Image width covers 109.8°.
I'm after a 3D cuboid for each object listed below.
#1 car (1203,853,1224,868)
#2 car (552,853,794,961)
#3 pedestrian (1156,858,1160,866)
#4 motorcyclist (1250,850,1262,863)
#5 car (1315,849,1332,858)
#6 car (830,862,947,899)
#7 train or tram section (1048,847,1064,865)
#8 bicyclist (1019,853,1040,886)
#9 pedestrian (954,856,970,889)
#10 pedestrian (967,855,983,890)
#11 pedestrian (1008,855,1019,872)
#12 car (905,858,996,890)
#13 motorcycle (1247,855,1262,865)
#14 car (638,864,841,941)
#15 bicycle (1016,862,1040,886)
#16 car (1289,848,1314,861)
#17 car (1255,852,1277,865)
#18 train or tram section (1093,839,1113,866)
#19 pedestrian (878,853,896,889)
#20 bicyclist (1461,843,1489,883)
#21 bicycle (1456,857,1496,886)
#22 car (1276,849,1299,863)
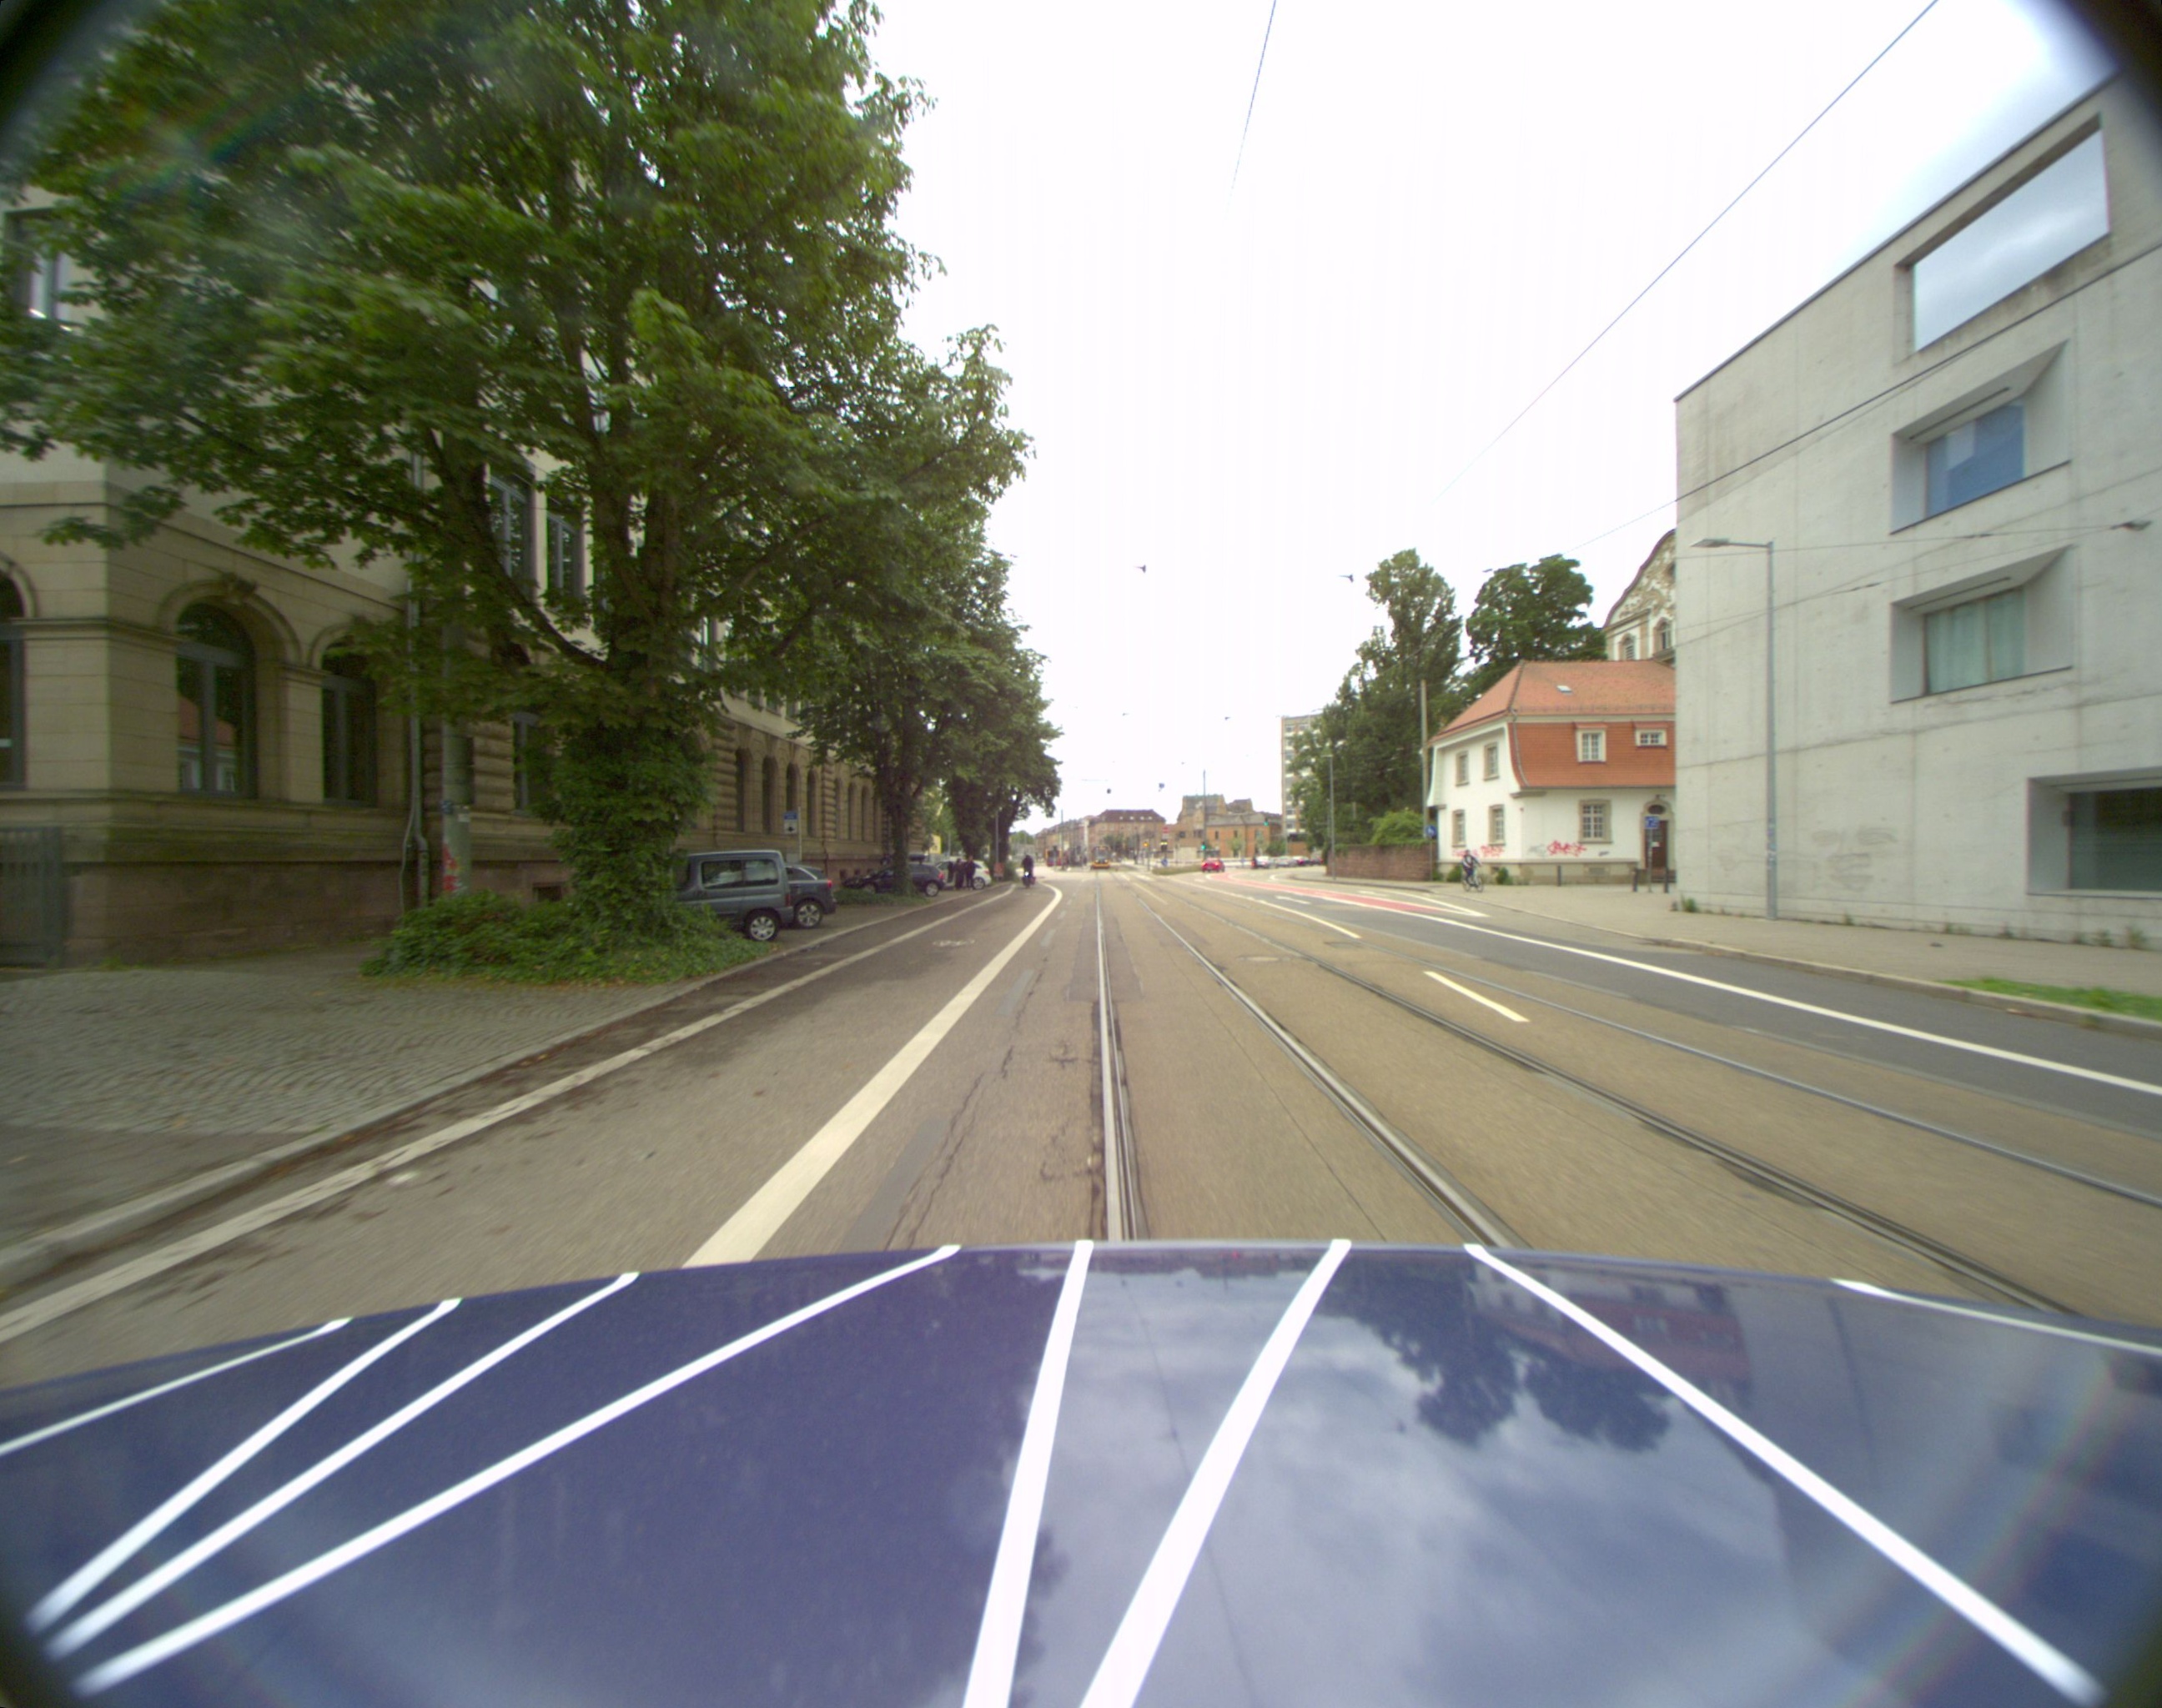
[{"bbox_3d":[13.787,0.686,78.963,1.758,1.490,4.004,0,0,15],"label":"car"},{"bbox_3d":[-7.659,0.889,14.497,3.846,1.810,1.803,0,0,-30],"label":"car"},{"bbox_3d":[9.701,0.980,95.772,0.544,1.050,0.638,-1,1,9],"label":"pedestrian"},{"bbox_3d":[20.568,0.245,89.442,1.074,1.477,1.254,-1,0,27],"label":"motorcyclist"},{"bbox_3d":[34.547,-0.036,108.292,1.420,1.164,3.077,-1,0,37],"label":"car"},{"bbox_3d":[-7.906,1.039,31.300,4.338,1.394,1.750,-1,0,-32],"label":"car"},{"bbox_3d":[-4.348,0.372,131.765,2.609,2.936,4.965,-1,0,-1],"label":"train or tram section"},{"bbox_3d":[-2.822,0.860,41.718,0.881,1.811,1.479,-1,-1,6],"label":"bicyclist"},{"bbox_3d":[-5.924,0.926,37.866,0.645,1.616,0.591,-1,0,-22],"label":"pedestrian"},{"bbox_3d":[-5.344,0.913,38.357,0.615,1.740,0.685,-1,0,-21],"label":"pedestrian"},{"bbox_3d":[-6.939,1.006,78.130,0.917,1.698,1.157,-1,1,-11],"label":"pedestrian"},{"bbox_3d":[-6.753,1.013,39.257,4.330,1.542,1.747,-1,0,-21],"label":"car"},{"bbox_3d":[20.350,0.687,89.035,1.053,1.063,2.653,-1,0,28],"label":"motorcycle"},{"bbox_3d":[-7.812,1.020,17.478,4.007,1.530,1.860,0,0,-34],"label":"car"},{"bbox_3d":[-2.888,1.107,41.597,0.852,1.234,2.311,-1,-2,6],"label":"bicycle"},{"bbox_3d":[30.123,0.053,103.735,1.782,1.601,4.333,-1,0,36],"label":"car"},{"bbox_3d":[22.543,0.515,92.607,1.491,1.500,3.476,-1,0,34],"label":"car"},{"bbox_3d":[3.134,-0.234,109.923,2.631,3.659,5.985,-1,0,-1],"label":"train or tram section"},{"bbox_3d":[-9.942,0.844,39.023,0.680,1.828,0.751,1,1,1],"label":"pedestrian"},{"bbox_3d":[16.867,0.376,32.539,0.776,1.681,0.869,-1,0,2],"label":"bicyclist"},{"bbox_3d":[16.879,0.728,32.492,0.776,1.205,1.869,-1,0,2],"label":"bicycle"},{"bbox_3d":[26.925,0.264,98.956,1.682,1.641,3.988,-1,0,35],"label":"car"}]
